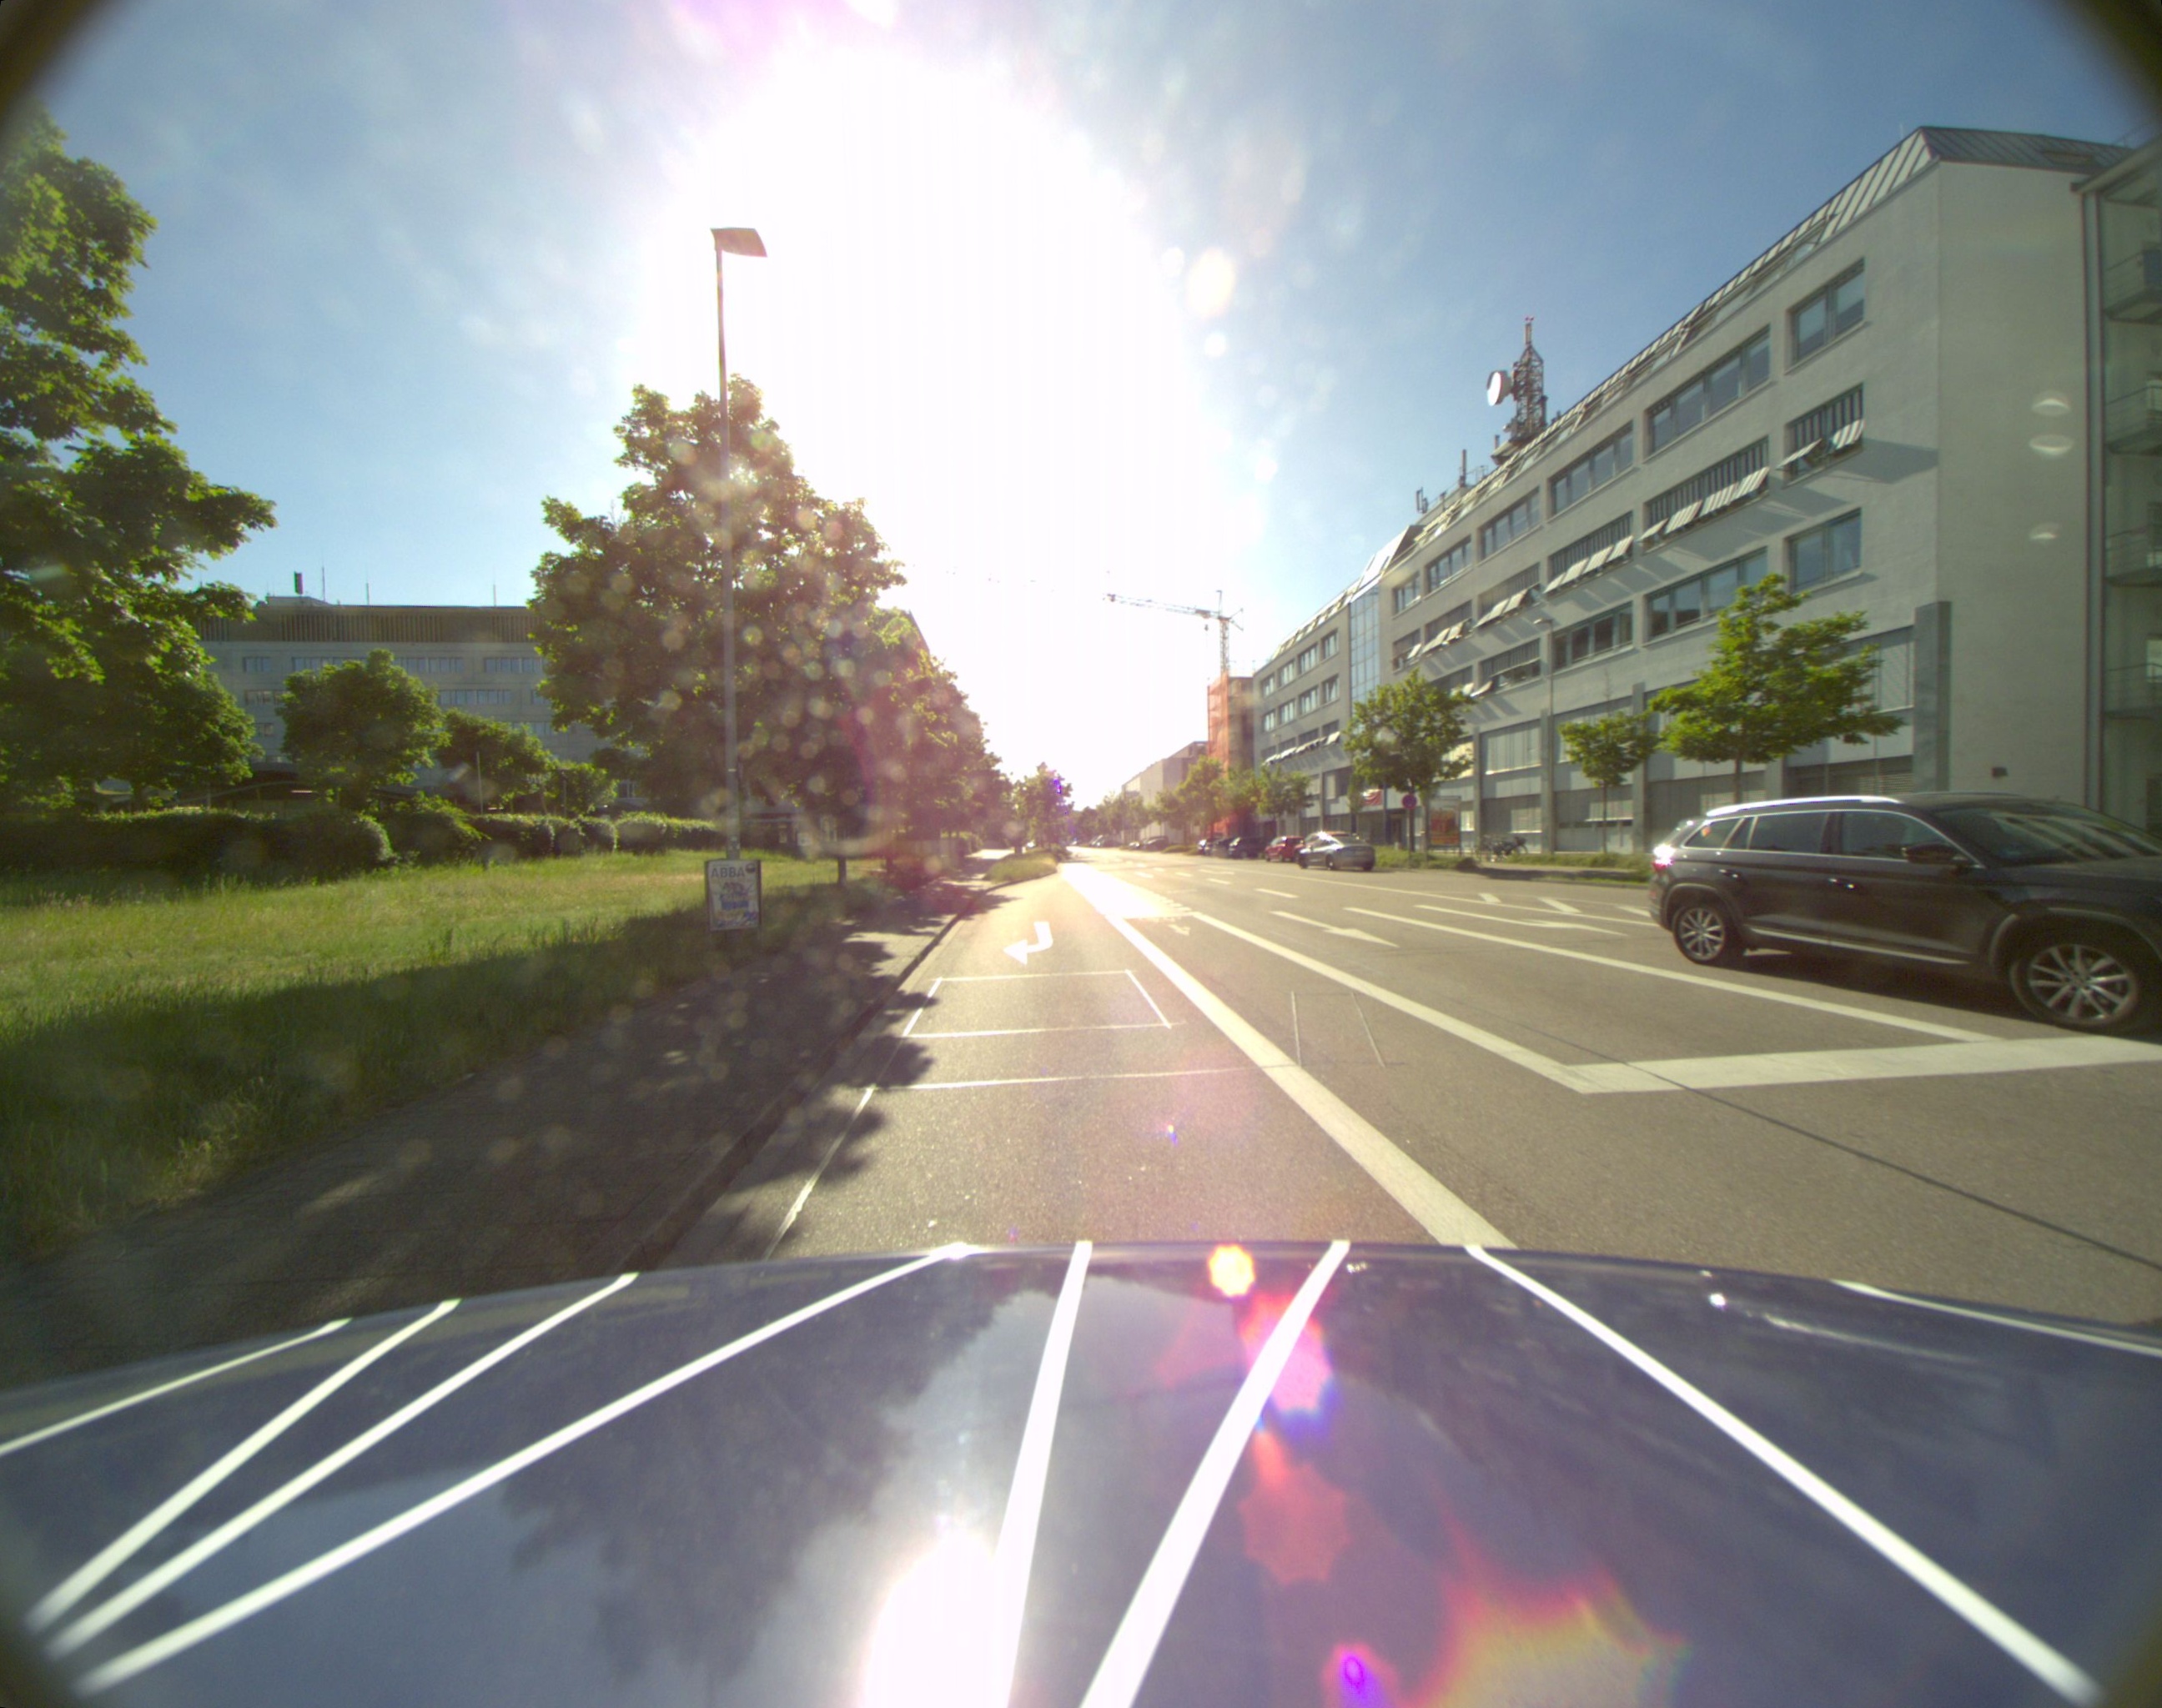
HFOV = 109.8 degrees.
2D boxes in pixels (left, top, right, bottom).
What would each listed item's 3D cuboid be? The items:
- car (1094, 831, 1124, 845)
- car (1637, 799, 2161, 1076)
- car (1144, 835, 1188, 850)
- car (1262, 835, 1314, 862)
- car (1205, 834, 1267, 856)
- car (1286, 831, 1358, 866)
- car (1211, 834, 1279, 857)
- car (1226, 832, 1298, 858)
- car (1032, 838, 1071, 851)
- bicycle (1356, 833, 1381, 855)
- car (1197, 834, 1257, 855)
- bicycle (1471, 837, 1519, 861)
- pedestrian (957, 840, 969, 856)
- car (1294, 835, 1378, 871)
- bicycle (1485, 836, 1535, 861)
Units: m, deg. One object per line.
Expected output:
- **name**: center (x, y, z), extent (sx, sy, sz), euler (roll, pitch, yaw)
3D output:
- **car**: center (5.480, -3.101, 150.004), extent (5.584, 2.469, 2.009), euler (-3, 2, -1)
- **car**: center (7.239, 0.436, 6.300), extent (1.759, 1.619, 4.475), euler (-3, 2, -3)
- **car**: center (9.479, -1.296, 84.970), extent (4.399, 1.424, 1.976), euler (-4, 2, -7)
- **car**: center (11.942, -0.334, 44.110), extent (1.693, 1.424, 3.869), euler (-3, 2, -3)
- **car**: center (11.967, -0.727, 58.773), extent (4.397, 1.424, 1.692), euler (-3, 2, -3)
- **car**: center (12.332, -0.295, 39.119), extent (1.693, 1.598, 4.306), euler (-4, 2, -9)
- **car**: center (11.728, -0.622, 54.570), extent (4.398, 1.424, 1.692), euler (-4, 2, -6)
- **car**: center (12.273, -0.616, 51.549), extent (4.399, 1.529, 1.692), euler (-4, 2, -8)
- **car**: center (-3.467, -1.137, 88.934), extent (4.414, 1.455, 1.894), euler (0, 1, -4)
- **bicycle**: center (17.672, -0.643, 46.776), extent (0.710, 1.340, 2.232), euler (0, 2, 2)
- **car**: center (11.726, -0.778, 61.203), extent (4.398, 1.424, 1.692), euler (-4, 2, -5)
- **bicycle**: center (18.391, -0.244, 33.767), extent (1.771, 1.063, 0.556), euler (0, 2, 4)
- **pedestrian**: center (-9.088, -0.494, 58.686), extent (0.848, 1.210, 0.727), euler (0, 2, -16)
- **car**: center (10.982, -0.075, 33.066), extent (1.693, 1.460, 4.543), euler (-1, 1, -7)
- **bicycle**: center (18.621, -0.251, 33.006), extent (1.792, 1.063, 0.621), euler (0, 2, 4)
